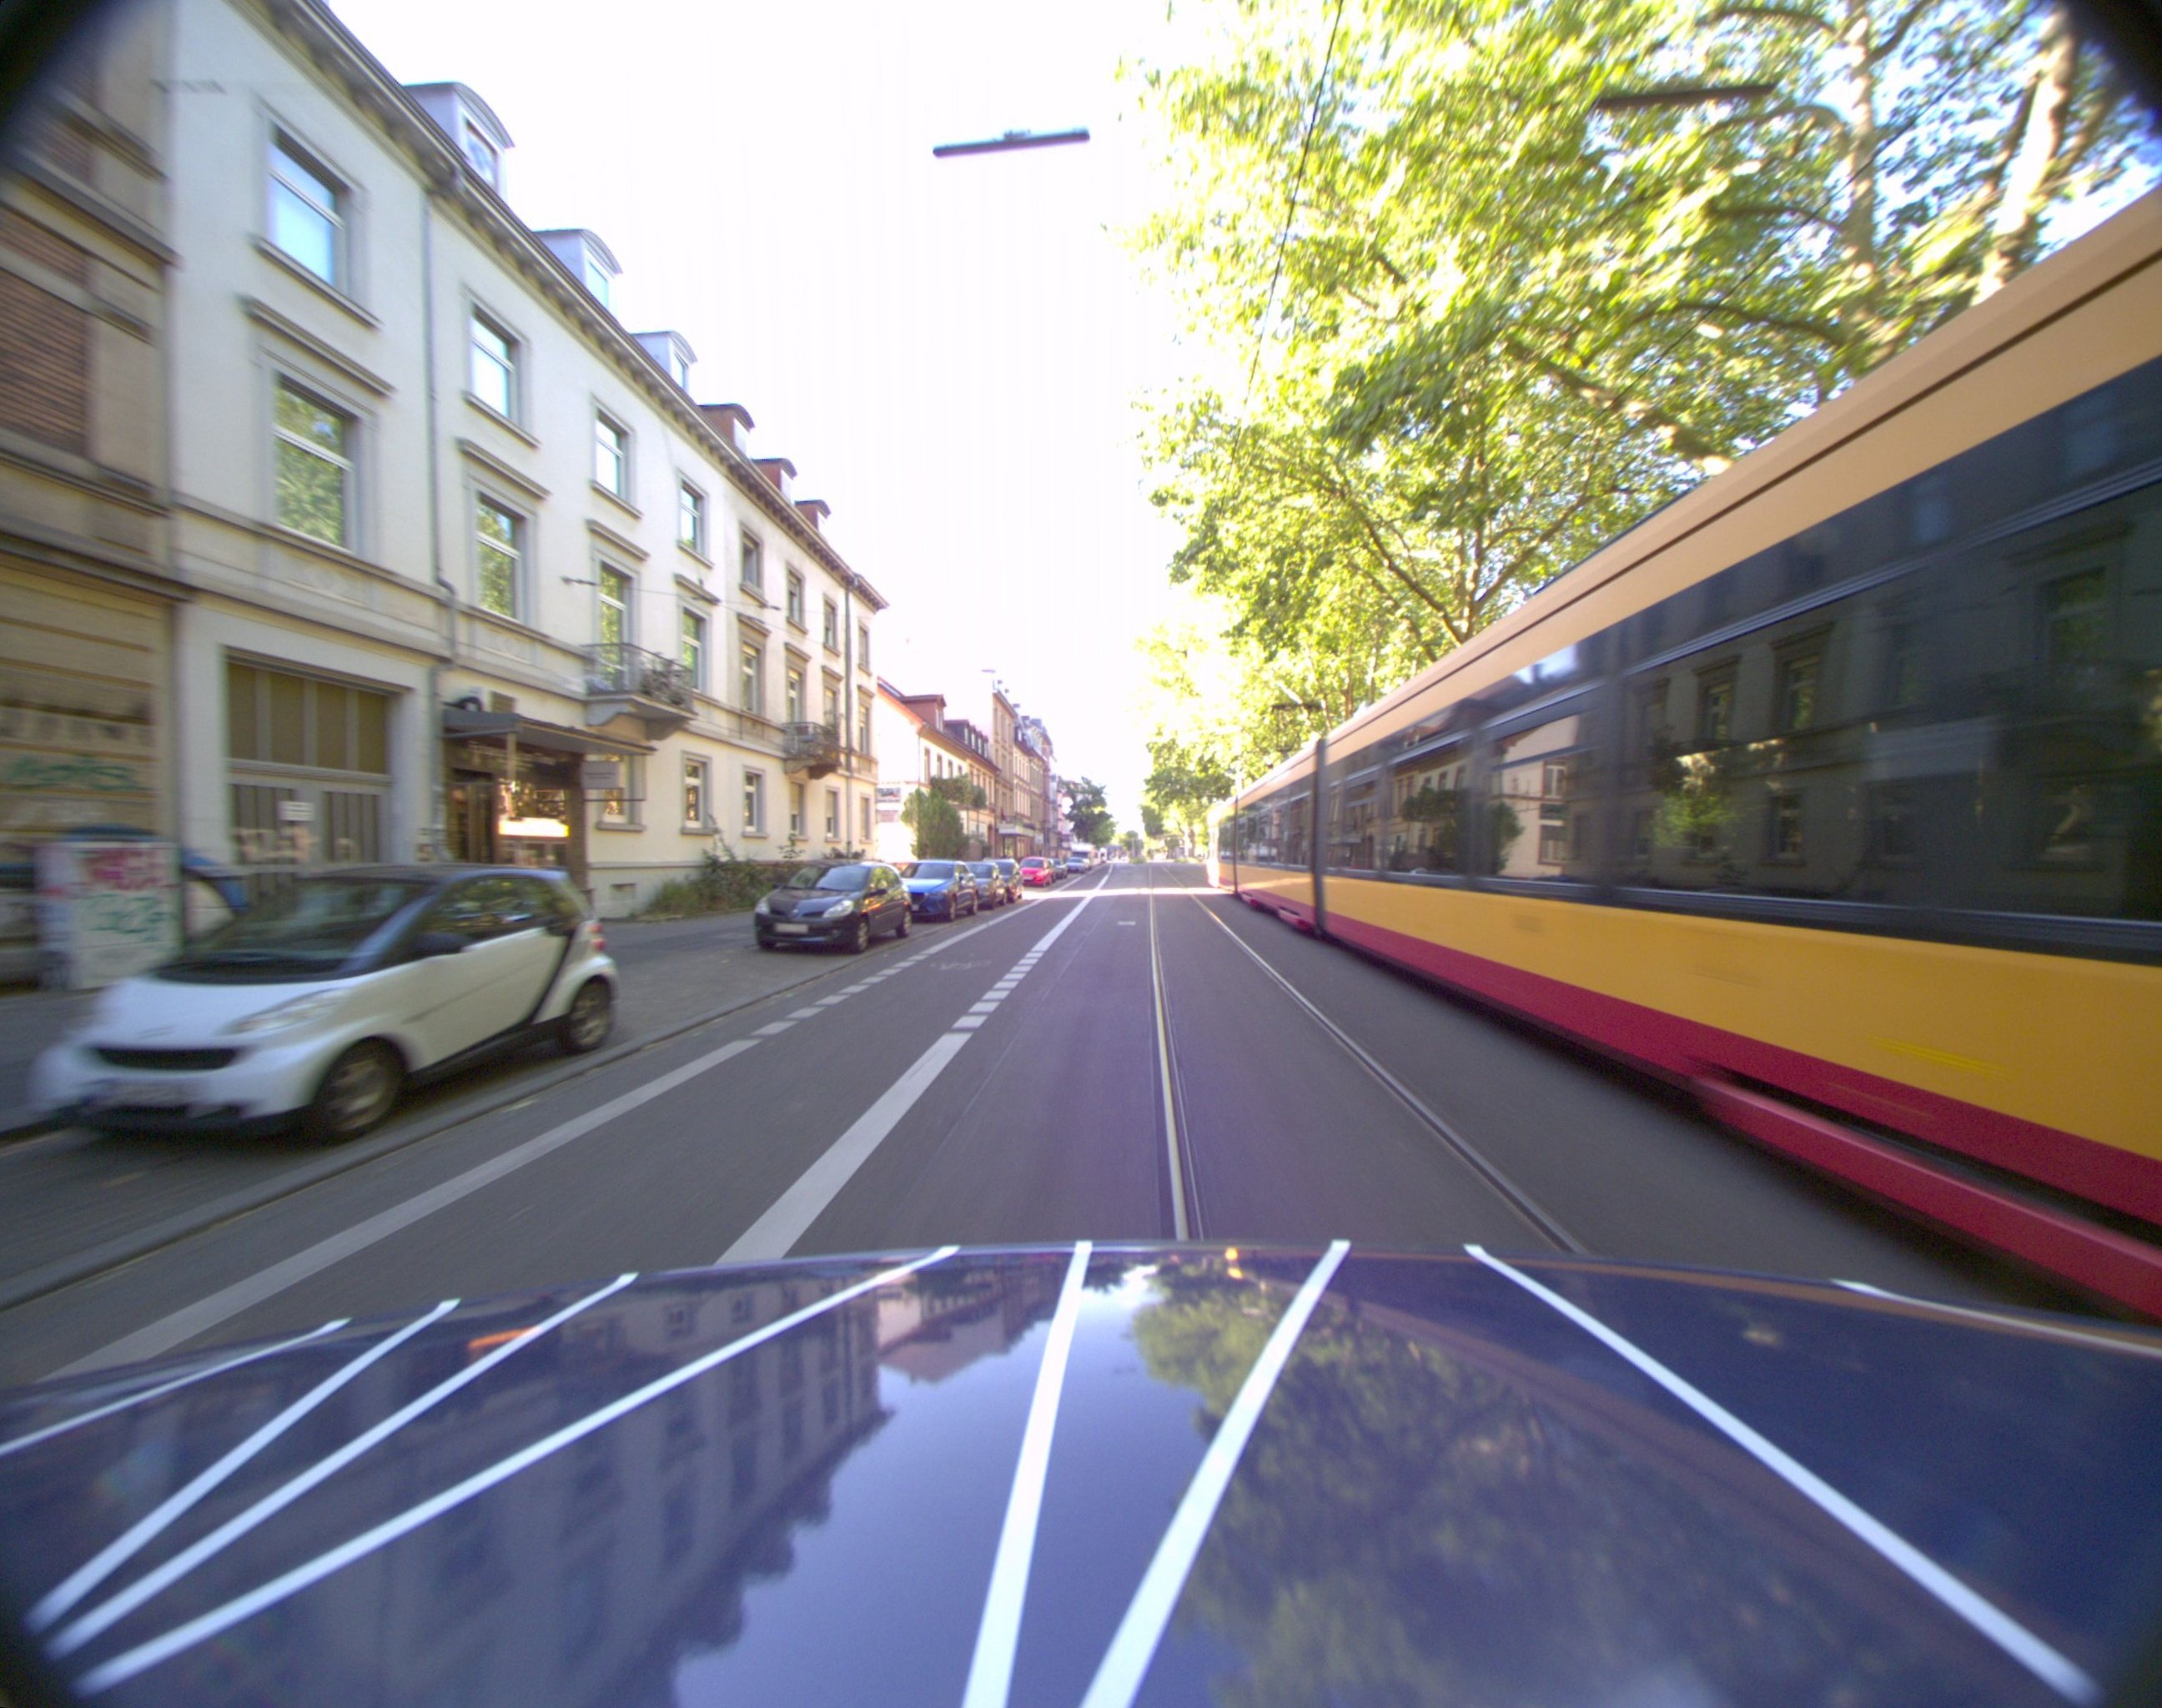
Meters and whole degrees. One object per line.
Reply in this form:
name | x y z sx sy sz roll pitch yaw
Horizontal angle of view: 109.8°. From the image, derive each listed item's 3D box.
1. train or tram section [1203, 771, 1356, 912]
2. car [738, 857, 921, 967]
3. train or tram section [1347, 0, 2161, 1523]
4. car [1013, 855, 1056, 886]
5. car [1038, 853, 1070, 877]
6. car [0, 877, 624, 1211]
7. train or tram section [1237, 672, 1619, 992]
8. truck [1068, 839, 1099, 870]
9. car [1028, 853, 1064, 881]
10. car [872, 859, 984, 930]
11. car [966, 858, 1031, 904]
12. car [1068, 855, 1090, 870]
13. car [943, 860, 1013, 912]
train or tram section | 6.246 -0.409 26.317 2.943 3.598 12.413 -3 1 5
car | -4.195 0.878 13.367 1.634 1.497 3.908 4 1 3
train or tram section | 4.165 -0.252 3.292 2.943 3.598 11.065 -3 1 5
car | -2.390 0.829 40.129 1.702 1.559 3.687 1 0 5
car | -1.792 0.733 51.684 1.702 1.559 3.687 1 0 5
car | -4.821 0.991 5.229 1.513 1.534 2.821 1 1 4
train or tram section | 5.184 -0.307 14.497 2.943 3.598 11.261 -3 1 5
truck | 0.350 0.035 84.722 2.841 3.145 7.293 -3 1 3
car | -2.056 0.756 45.498 1.702 1.559 3.687 1 0 5
car | -3.841 0.967 19.711 1.728 1.497 3.908 3 1 5
car | -3.026 0.945 28.663 1.729 1.559 3.687 1 0 5
car | -0.195 0.785 70.631 1.702 1.324 3.687 1 0 5
car | -3.256 0.962 24.568 1.542 1.497 3.360 1 1 5
